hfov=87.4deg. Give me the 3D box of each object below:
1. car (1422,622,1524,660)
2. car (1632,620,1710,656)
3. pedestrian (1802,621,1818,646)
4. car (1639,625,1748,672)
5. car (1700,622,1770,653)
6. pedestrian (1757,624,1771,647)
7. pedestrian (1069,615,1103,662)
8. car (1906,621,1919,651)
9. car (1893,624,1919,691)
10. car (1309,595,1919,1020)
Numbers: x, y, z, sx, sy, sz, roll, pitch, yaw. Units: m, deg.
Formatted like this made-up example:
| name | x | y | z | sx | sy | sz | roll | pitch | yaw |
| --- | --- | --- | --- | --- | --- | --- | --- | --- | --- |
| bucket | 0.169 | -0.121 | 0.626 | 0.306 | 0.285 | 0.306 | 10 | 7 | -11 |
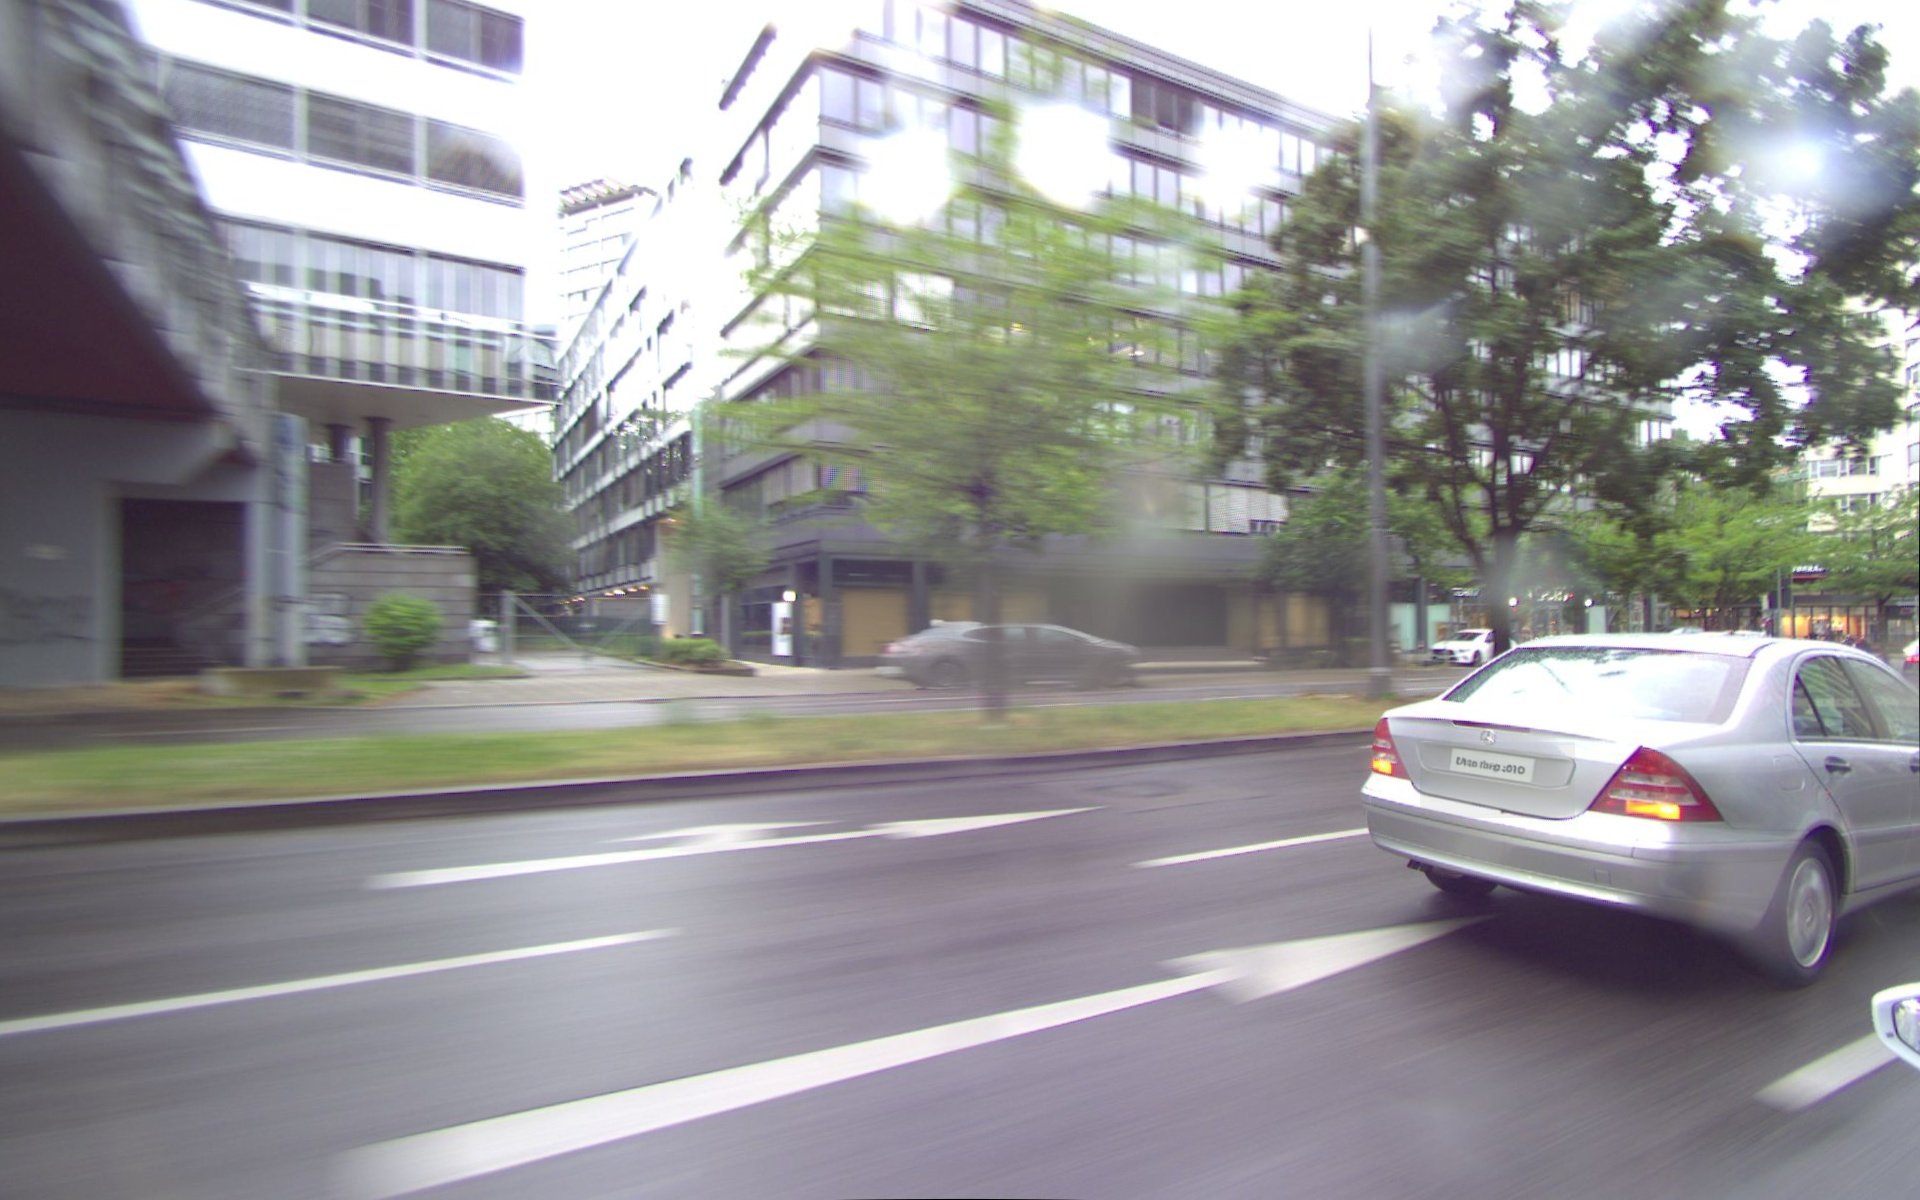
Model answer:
| name | x | y | z | sx | sy | sz | roll | pitch | yaw |
| --- | --- | --- | --- | --- | --- | --- | --- | --- | --- |
| car | 20.362 | 1.642 | 39.824 | 4.397 | 1.451 | 1.615 | 2 | -2 | -32 |
| car | 34.358 | 1.826 | 48.524 | 4.185 | 1.632 | 1.614 | 1 | 0 | -32 |
| pedestrian | 61.703 | 2.428 | 72.886 | 0.739 | 1.736 | 0.593 | 0 | -1 | 22 |
| car | 22.146 | 1.463 | 30.305 | 3.582 | 1.328 | 1.613 | 2 | -2 | -35 |
| car | 39.880 | 1.909 | 51.648 | 3.919 | 1.480 | 1.614 | 1 | 0 | -32 |
| pedestrian | 54.335 | 2.401 | 67.879 | 0.591 | 1.523 | 0.437 | 0 | -1 | 22 |
| pedestrian | 4.767 | 1.439 | 38.006 | 1.045 | 1.738 | 0.739 | 1 | -1 | -31 |
| car | 49.902 | 1.875 | 51.079 | 4.260 | 1.512 | 1.615 | 2 | -2 | -32 |
| car | 23.023 | 1.329 | 22.904 | 3.960 | 1.476 | 1.763 | 2 | -2 | -35 |
| car | 4.014 | 0.792 | 5.368 | 4.309 | 1.498 | 1.664 | 2 | -1 | -30 |
